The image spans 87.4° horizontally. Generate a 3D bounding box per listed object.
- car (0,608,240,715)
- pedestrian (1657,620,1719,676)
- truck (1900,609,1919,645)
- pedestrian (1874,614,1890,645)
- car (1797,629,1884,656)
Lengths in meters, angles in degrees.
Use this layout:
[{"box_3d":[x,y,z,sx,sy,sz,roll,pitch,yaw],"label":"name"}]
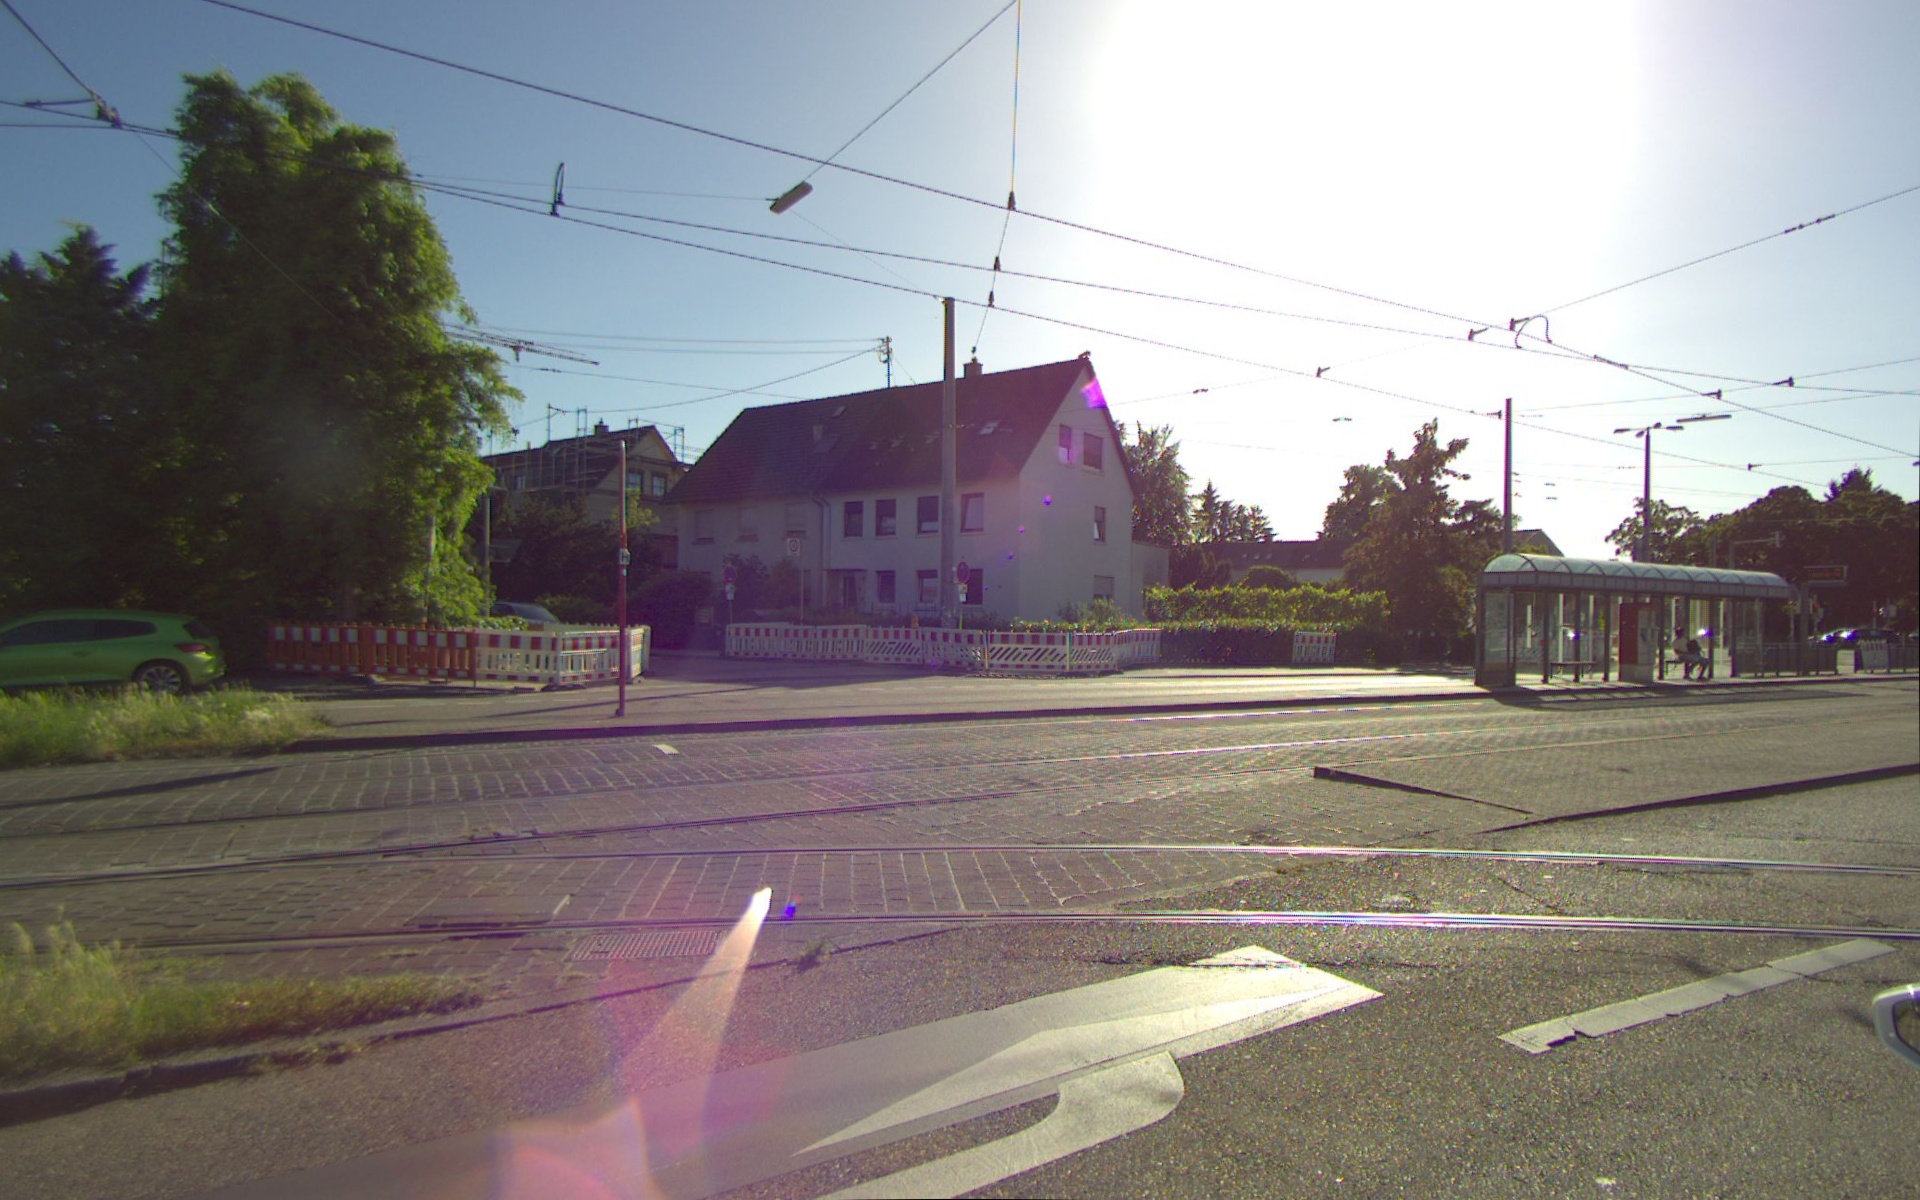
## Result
[{"box_3d":[-14.116,0.938,16.065,4.023,1.521,1.983,2,0,-31],"label":"car"},{"box_3d":[19.768,1.299,27.273,0.995,1.472,1.055,1,-1,-30],"label":"pedestrian"},{"box_3d":[72.632,2.025,73.841,6.710,2.599,1.993,1,-1,-16],"label":"truck"},{"box_3d":[62.298,1.983,67.883,0.785,2.040,0.741,1,-1,-41],"label":"pedestrian"},{"box_3d":[57.000,2.731,65.132,3.930,1.493,1.748,2,0,32],"label":"car"}]
